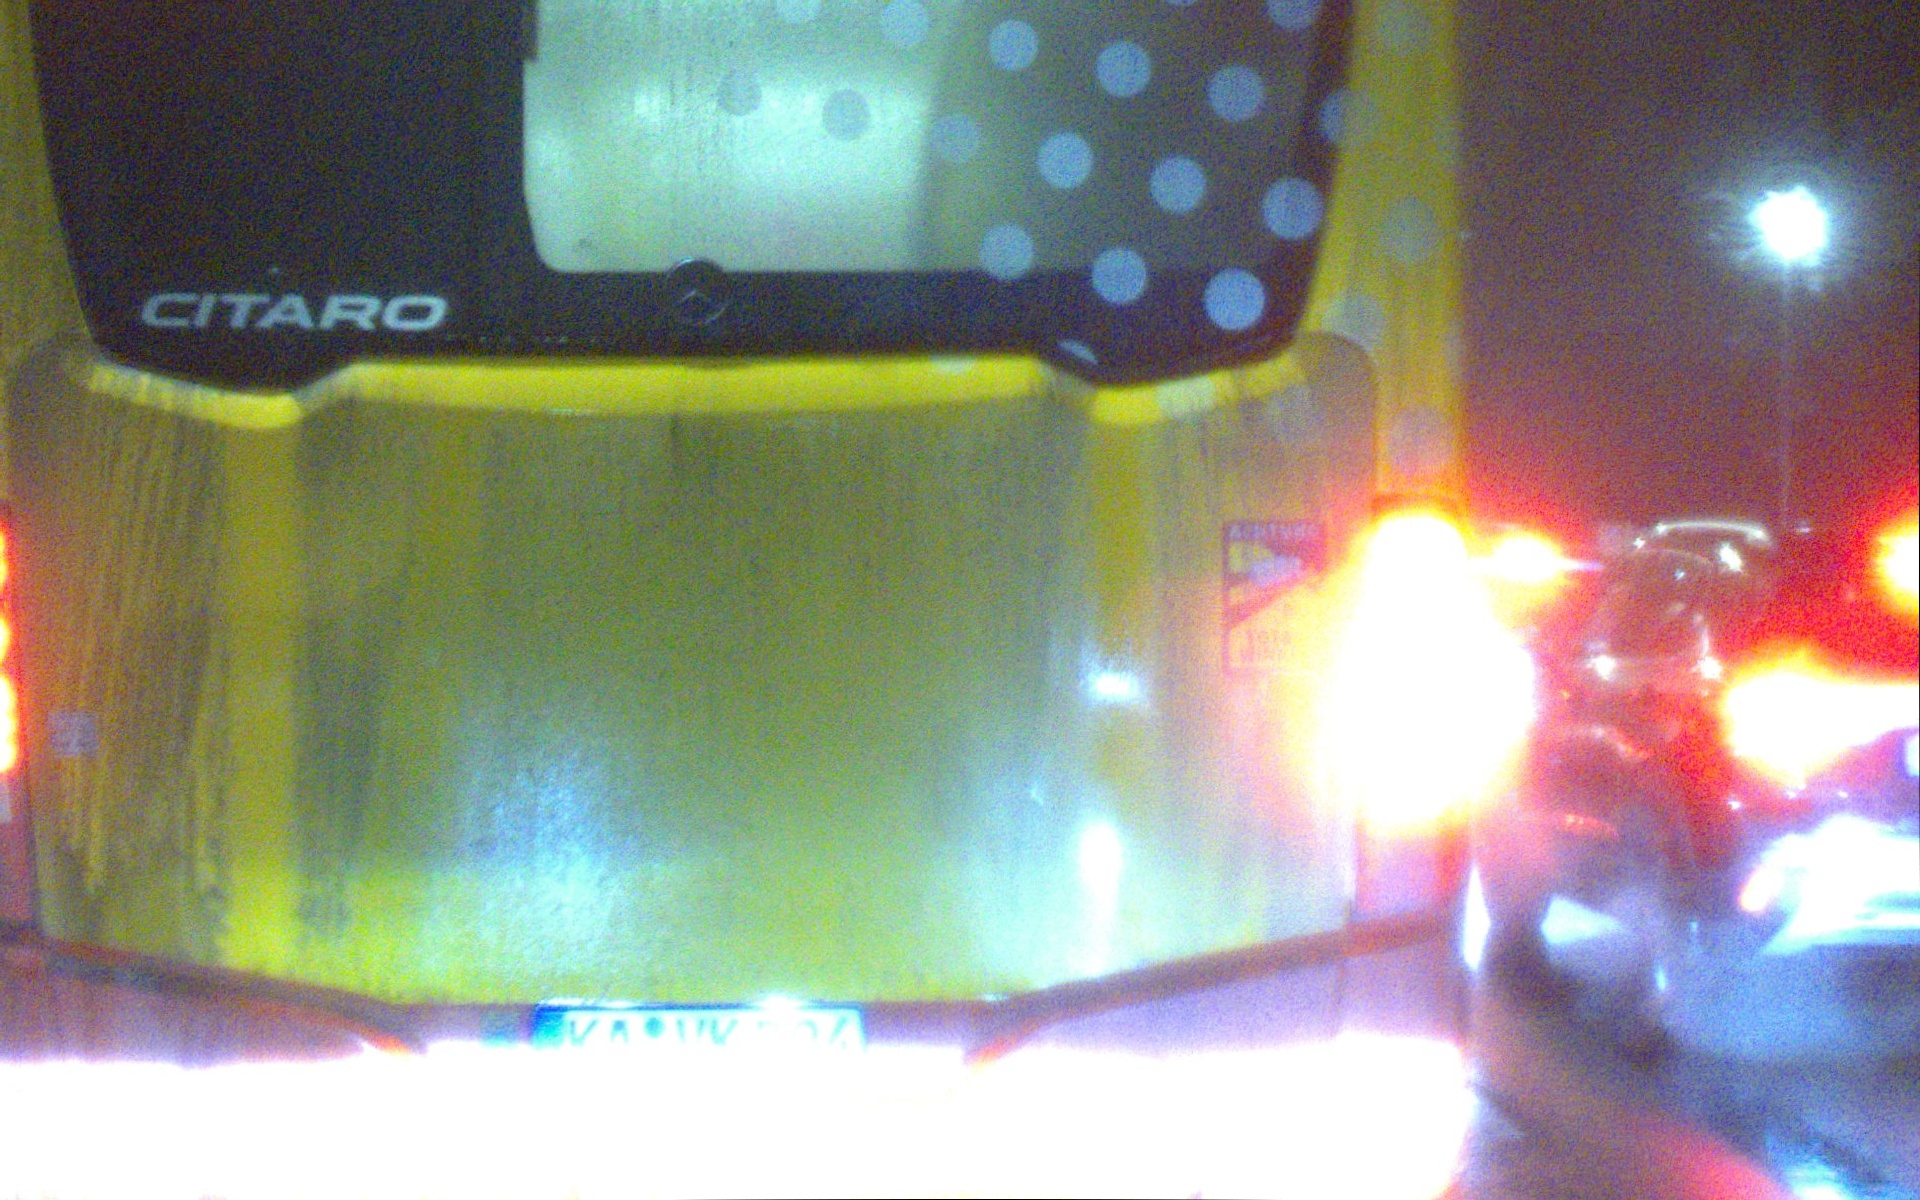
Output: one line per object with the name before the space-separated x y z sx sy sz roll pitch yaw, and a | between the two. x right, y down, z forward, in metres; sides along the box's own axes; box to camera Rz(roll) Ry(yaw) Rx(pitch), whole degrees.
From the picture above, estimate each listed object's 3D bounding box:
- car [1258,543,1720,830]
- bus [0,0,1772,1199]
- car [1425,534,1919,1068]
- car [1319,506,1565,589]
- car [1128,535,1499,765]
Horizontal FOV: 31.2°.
car | 2.645 0.373 18.034 1.686 1.326 3.961 -1 1 -2
bus | -0.623 -0.309 9.818 3.285 3.039 9.546 0 2 -2
car | 2.813 0.561 11.805 1.677 1.516 3.961 1 1 -3
car | 9.584 -1.047 68.520 4.482 1.513 1.858 1 3 -8
car | 2.347 0.297 23.850 1.993 1.436 4.000 1 1 -2
